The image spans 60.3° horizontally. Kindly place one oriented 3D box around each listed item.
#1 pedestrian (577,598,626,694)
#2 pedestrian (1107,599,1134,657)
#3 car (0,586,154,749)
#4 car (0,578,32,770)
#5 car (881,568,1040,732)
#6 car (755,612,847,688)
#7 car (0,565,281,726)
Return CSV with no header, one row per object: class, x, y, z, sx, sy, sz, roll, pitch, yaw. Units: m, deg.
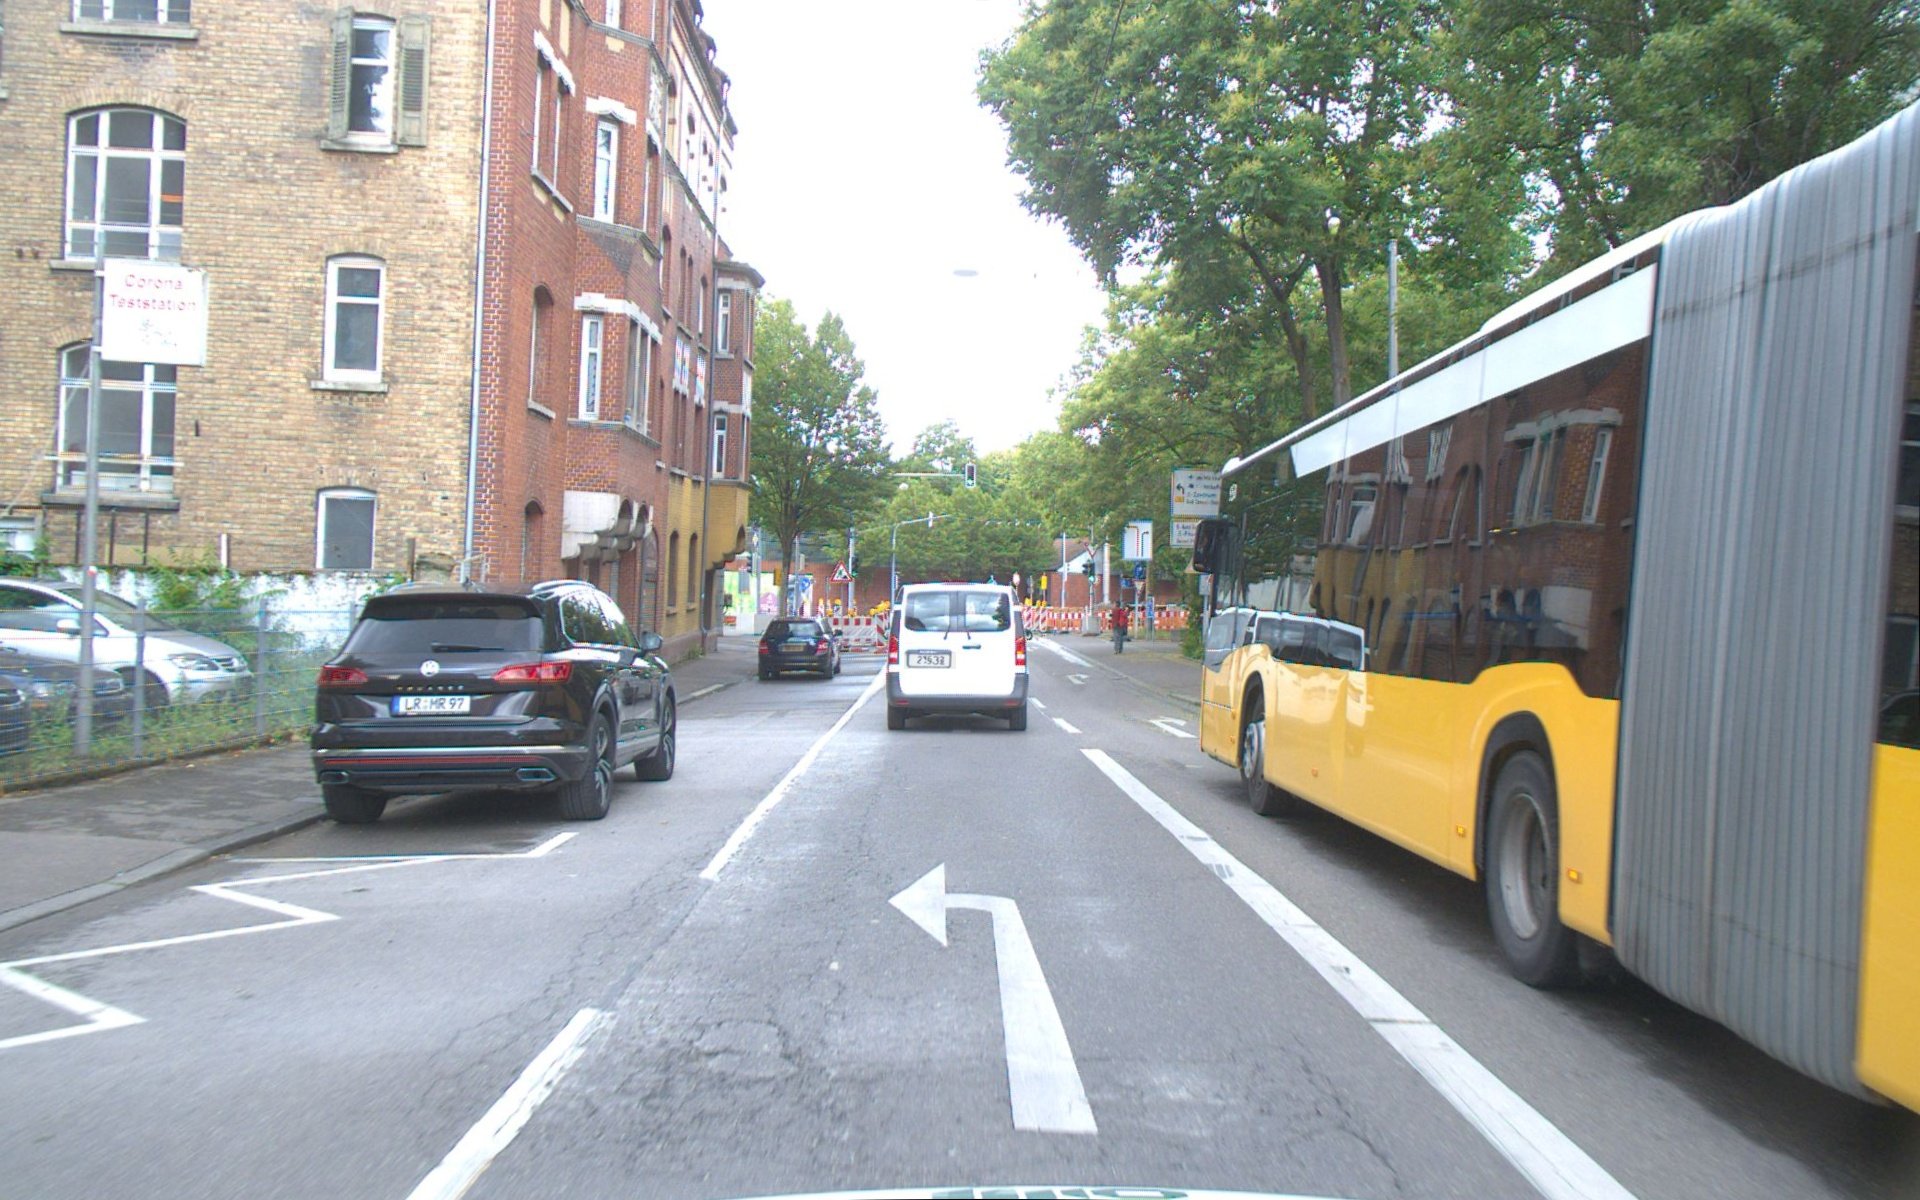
pedestrian,-6.319,0.809,29.191,0.646,1.637,0.632,3,0,0
pedestrian,5.304,0.918,54.736,0.763,1.863,0.727,-2,0,0
car,-9.645,0.614,15.381,3.522,1.439,1.547,0,-1,0
car,-9.410,0.592,12.682,3.522,1.531,1.853,0,-1,0
car,-0.060,0.724,23.052,1.879,1.935,4.699,4,-2,-2
car,-3.730,1.143,39.436,1.689,1.511,4.391,2,1,1
car,-9.441,0.477,17.855,3.522,1.640,1.688,0,-1,0
